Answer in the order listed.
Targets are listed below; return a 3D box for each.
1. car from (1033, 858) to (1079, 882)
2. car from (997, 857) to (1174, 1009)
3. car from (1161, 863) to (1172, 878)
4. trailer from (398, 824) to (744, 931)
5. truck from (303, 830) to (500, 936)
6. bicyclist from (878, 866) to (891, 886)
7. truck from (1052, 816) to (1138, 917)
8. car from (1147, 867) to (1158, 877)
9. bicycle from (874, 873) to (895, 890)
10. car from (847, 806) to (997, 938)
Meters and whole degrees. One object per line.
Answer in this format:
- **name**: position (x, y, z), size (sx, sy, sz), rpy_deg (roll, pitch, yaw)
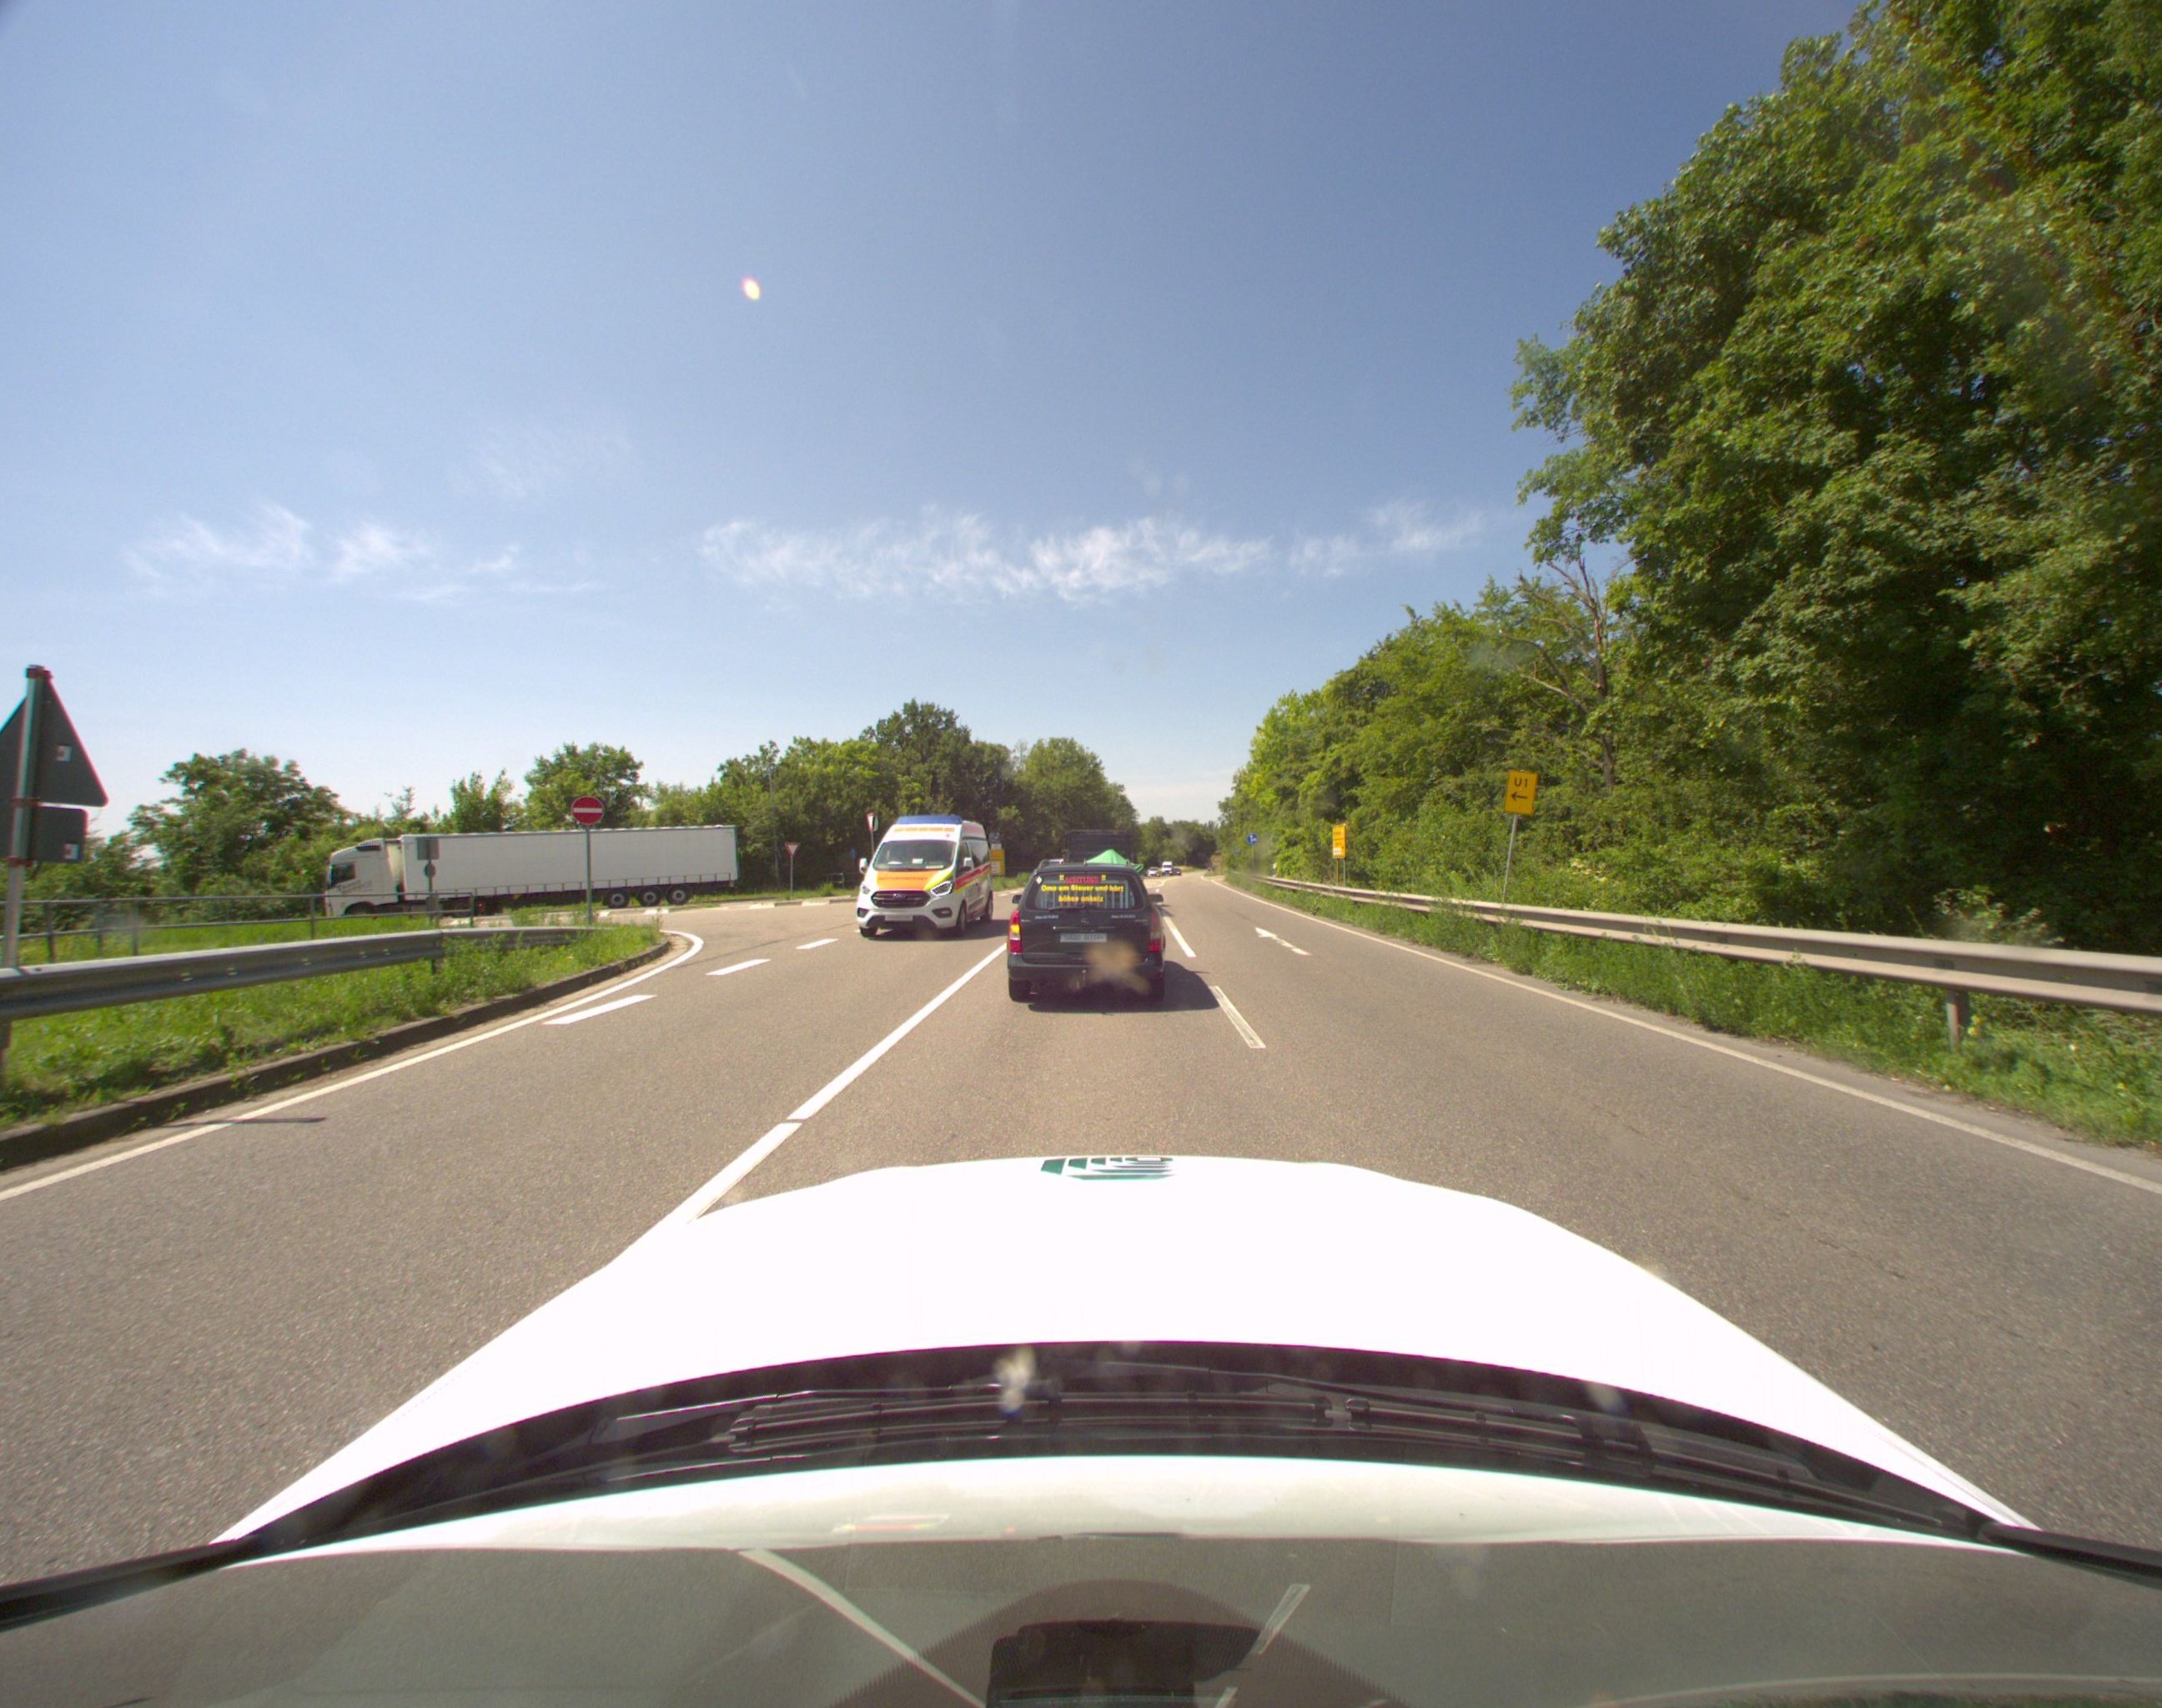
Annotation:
- **car**: position (-2.092, 1.375, 70.209), size (1.993, 1.924, 5.221), rpy_deg (-1, 0, 21)
- **car**: position (0.132, 0.780, 9.818), size (1.713, 1.457, 3.800), rpy_deg (0, 0, 3)
- **car**: position (16.781, 3.182, 159.023), size (2.094, 2.850, 6.022), rpy_deg (0, -1, 6)
- **trailer**: position (-24.307, 0.889, 40.107), size (13.836, 4.275, 2.970), rpy_deg (-3, 1, -31)
- **truck**: position (-30.402, 1.194, 36.762), size (5.924, 4.275, 2.981), rpy_deg (-3, 1, -17)
- **bicyclist**: position (-13.525, 1.492, 56.033), size (0.681, 1.363, 0.613), rpy_deg (-1, 0, 37)
- **truck**: position (0.577, 0.336, 23.993), size (2.129, 2.565, 6.646), rpy_deg (-1, 0, 4)
- **car**: position (10.655, 2.656, 121.487), size (1.636, 1.419, 3.771), rpy_deg (0, -1, 5)
- **bicycle**: position (-13.519, 1.858, 56.031), size (0.431, 1.113, 1.491), rpy_deg (-2, -1, 36)
- **car**: position (-3.124, 0.324, 17.200), size (1.983, 2.368, 5.183), rpy_deg (0, 0, 2)
